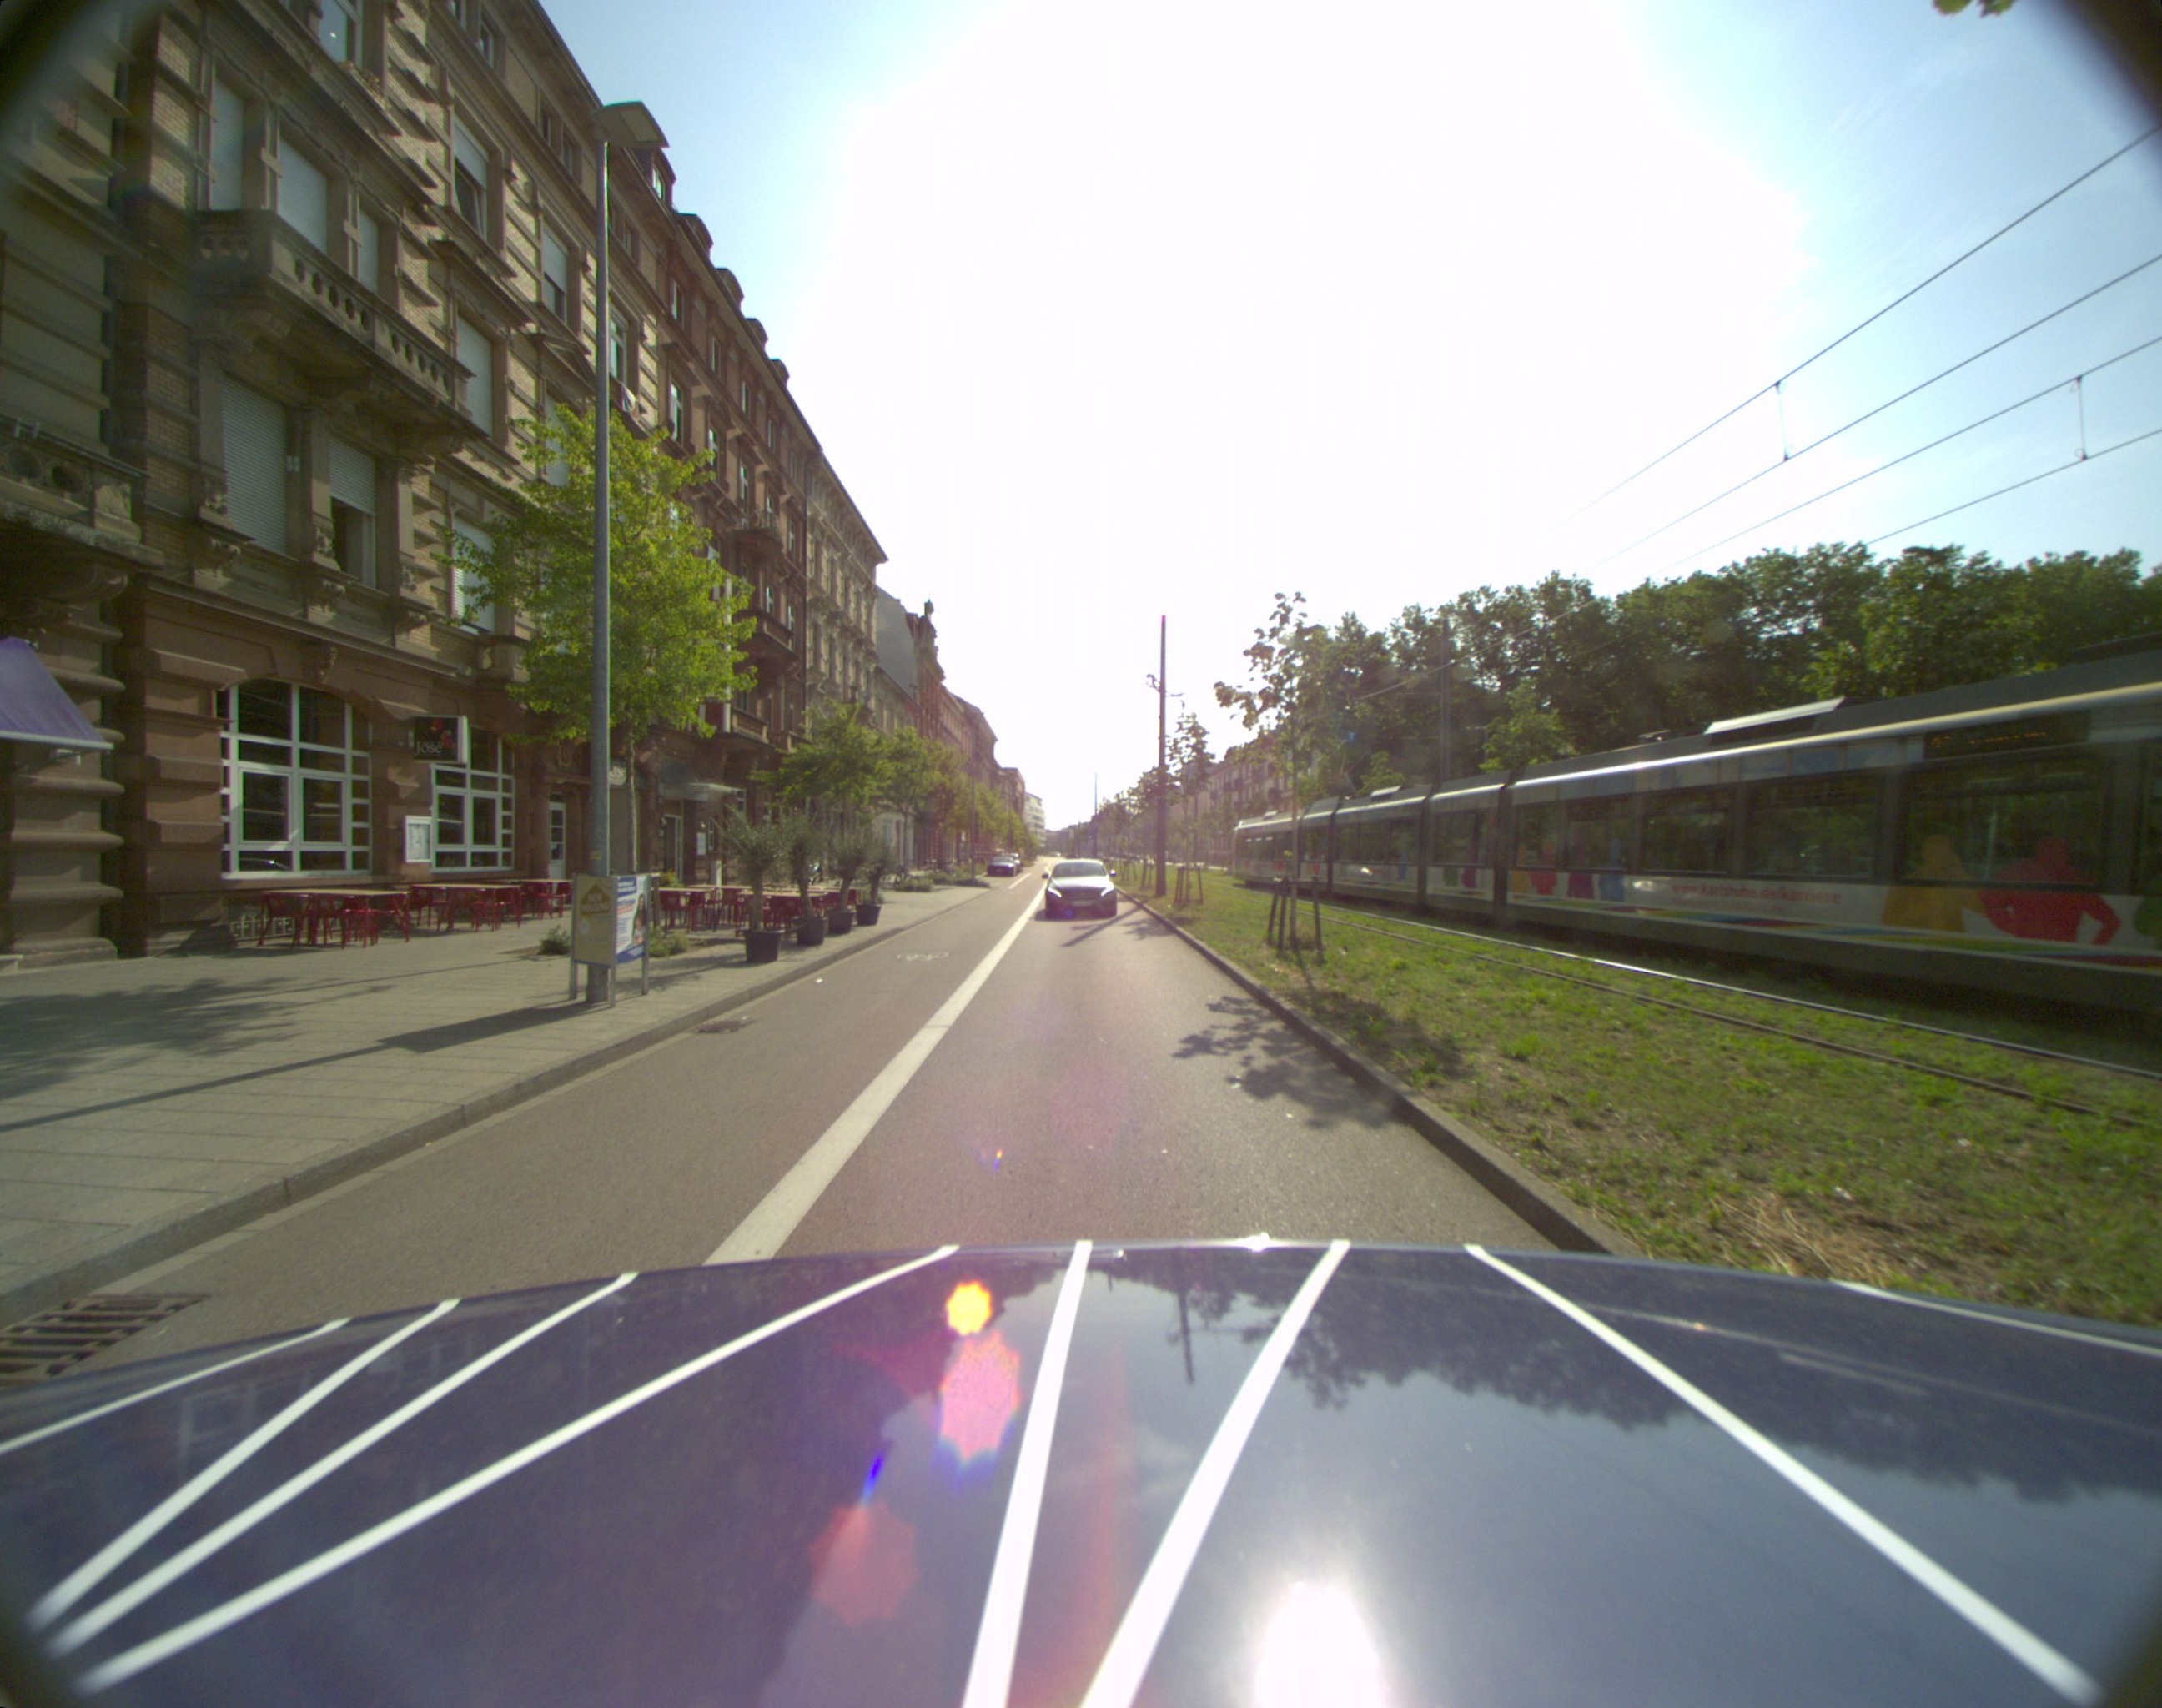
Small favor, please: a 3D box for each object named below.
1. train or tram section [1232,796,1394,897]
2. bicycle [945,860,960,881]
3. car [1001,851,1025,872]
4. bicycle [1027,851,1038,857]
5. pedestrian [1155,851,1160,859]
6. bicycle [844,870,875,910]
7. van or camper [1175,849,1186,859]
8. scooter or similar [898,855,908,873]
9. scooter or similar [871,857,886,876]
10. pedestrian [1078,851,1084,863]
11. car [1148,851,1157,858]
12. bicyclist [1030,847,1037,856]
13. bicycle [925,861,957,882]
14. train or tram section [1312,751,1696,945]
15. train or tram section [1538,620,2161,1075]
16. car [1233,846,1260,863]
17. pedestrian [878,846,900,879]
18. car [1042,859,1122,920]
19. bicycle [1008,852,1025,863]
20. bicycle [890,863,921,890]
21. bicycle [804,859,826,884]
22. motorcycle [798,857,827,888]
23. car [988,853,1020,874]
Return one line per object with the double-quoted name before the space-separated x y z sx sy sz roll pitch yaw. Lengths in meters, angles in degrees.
"train or tram section" 9.470 -0.362 33.196 2.906 3.566 12.473 0 1 -2
"bicycle" -6.953 0.894 41.128 0.494 1.087 1.826 0 0 -1
"car" -5.416 0.602 60.532 1.775 1.579 4.245 1 0 -5
"bicycle" -7.617 0.016 120.026 1.779 0.947 0.508 2 0 31
"pedestrian" 13.661 0.171 135.267 0.807 1.574 0.681 0 1 7
"bicycle" -6.661 1.063 22.903 0.597 1.116 1.925 0 1 -7
"van or camper" 21.854 -0.012 166.981 1.934 1.956 4.001 0 0 3
"scooter or similar" -11.452 0.636 48.865 0.289 1.127 1.089 0 1 5
"scooter or similar" -11.881 0.717 44.616 0.608 1.118 0.931 0 1 -1
"pedestrian" 0.021 0.497 123.391 0.992 1.795 0.864 1 -1 -2
"car" 19.071 0.183 203.384 1.998 1.884 5.047 0 0 2
"bicyclist" -7.537 -0.389 119.961 0.929 1.473 0.587 2 0 31
"bicycle" -7.719 0.971 42.005 0.453 1.076 1.881 3 3 41
"train or tram section" 9.758 -0.193 20.471 2.906 3.566 12.930 0 1 -1
"train or tram section" 9.918 -0.068 7.802 2.906 3.566 12.222 0 1 -1
"car" 19.557 0.034 89.899 1.999 1.907 5.152 -2 0 -1
"pedestrian" -9.866 0.434 39.058 0.795 1.687 0.823 2 1 -41
"car" -0.027 0.870 20.488 1.907 1.384 4.235 -1 1 -2
"bicycle" -7.218 0.403 85.191 1.812 1.089 0.671 2 1 -7
"bicycle" -7.203 0.926 31.303 0.505 1.054 1.715 2 0 14
"bicycle" -11.253 0.714 32.158 0.397 1.012 1.255 0 1 4
"motorcycle" -10.747 0.709 30.467 0.464 1.169 1.945 2 1 -1
"car" -5.407 0.672 54.084 1.741 1.388 4.714 1 0 0
